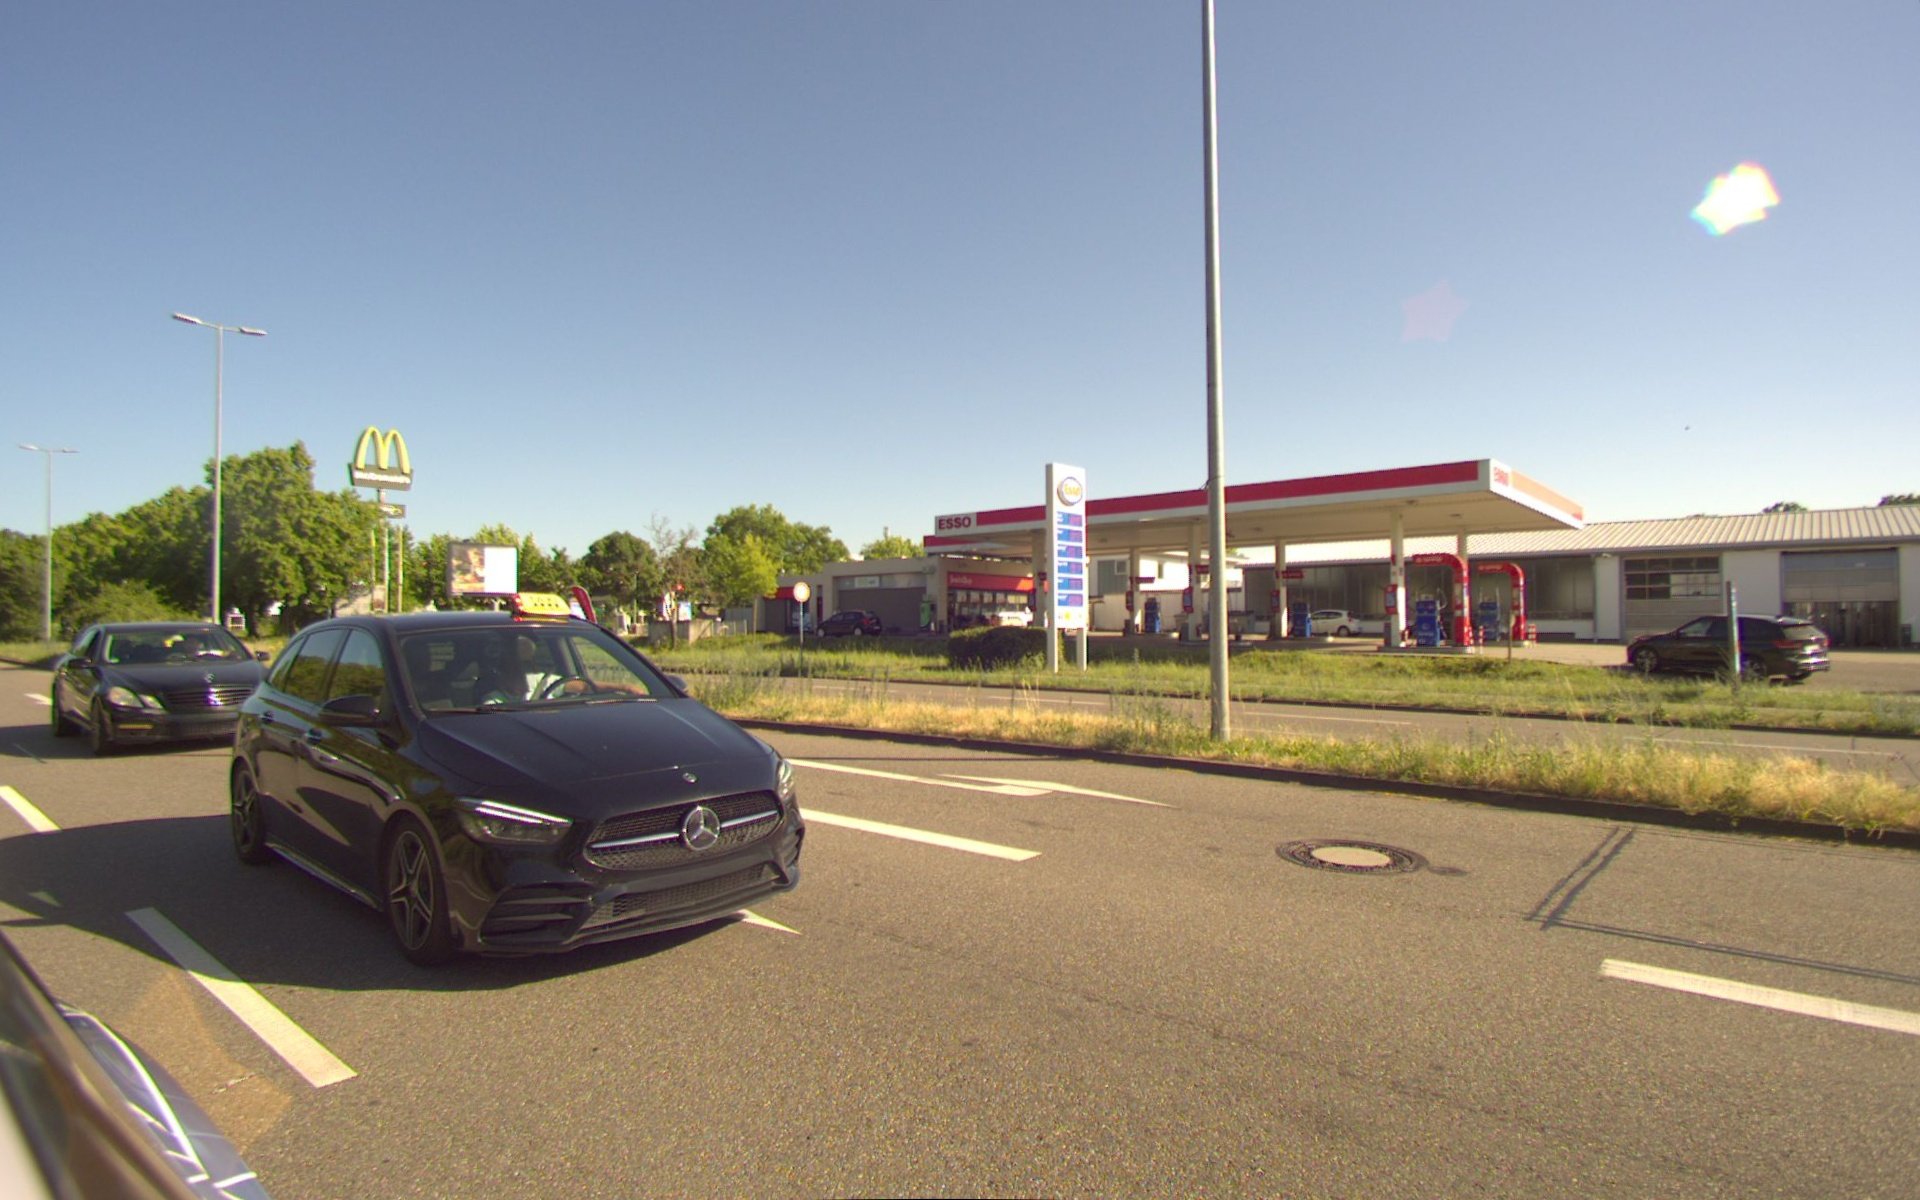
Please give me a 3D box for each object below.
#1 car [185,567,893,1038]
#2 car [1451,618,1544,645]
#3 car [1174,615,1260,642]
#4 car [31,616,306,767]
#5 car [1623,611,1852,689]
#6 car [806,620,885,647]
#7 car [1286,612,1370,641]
[{"bbox_3d":[-2.636,0.745,5.646,4.579,1.614,1.765,-2,-1,40],"label":"car"},{"bbox_3d":[26.219,1.510,49.441,3.729,1.196,1.658,-1,0,41],"label":"car"},{"bbox_3d":[15.136,1.657,59.795,4.540,1.477,1.973,-1,0,41],"label":"car"},{"bbox_3d":[-10.056,0.990,12.726,4.461,1.521,1.928,-1,0,41],"label":"car"},{"bbox_3d":[19.452,1.167,25.596,1.778,1.739,4.335,-1,0,-17],"label":"car"},{"bbox_3d":[-6.099,1.761,53.601,3.998,1.416,1.973,-2,-2,41],"label":"car"},{"bbox_3d":[19.978,1.430,54.942,3.855,1.500,1.973,-1,0,41],"label":"car"}]
